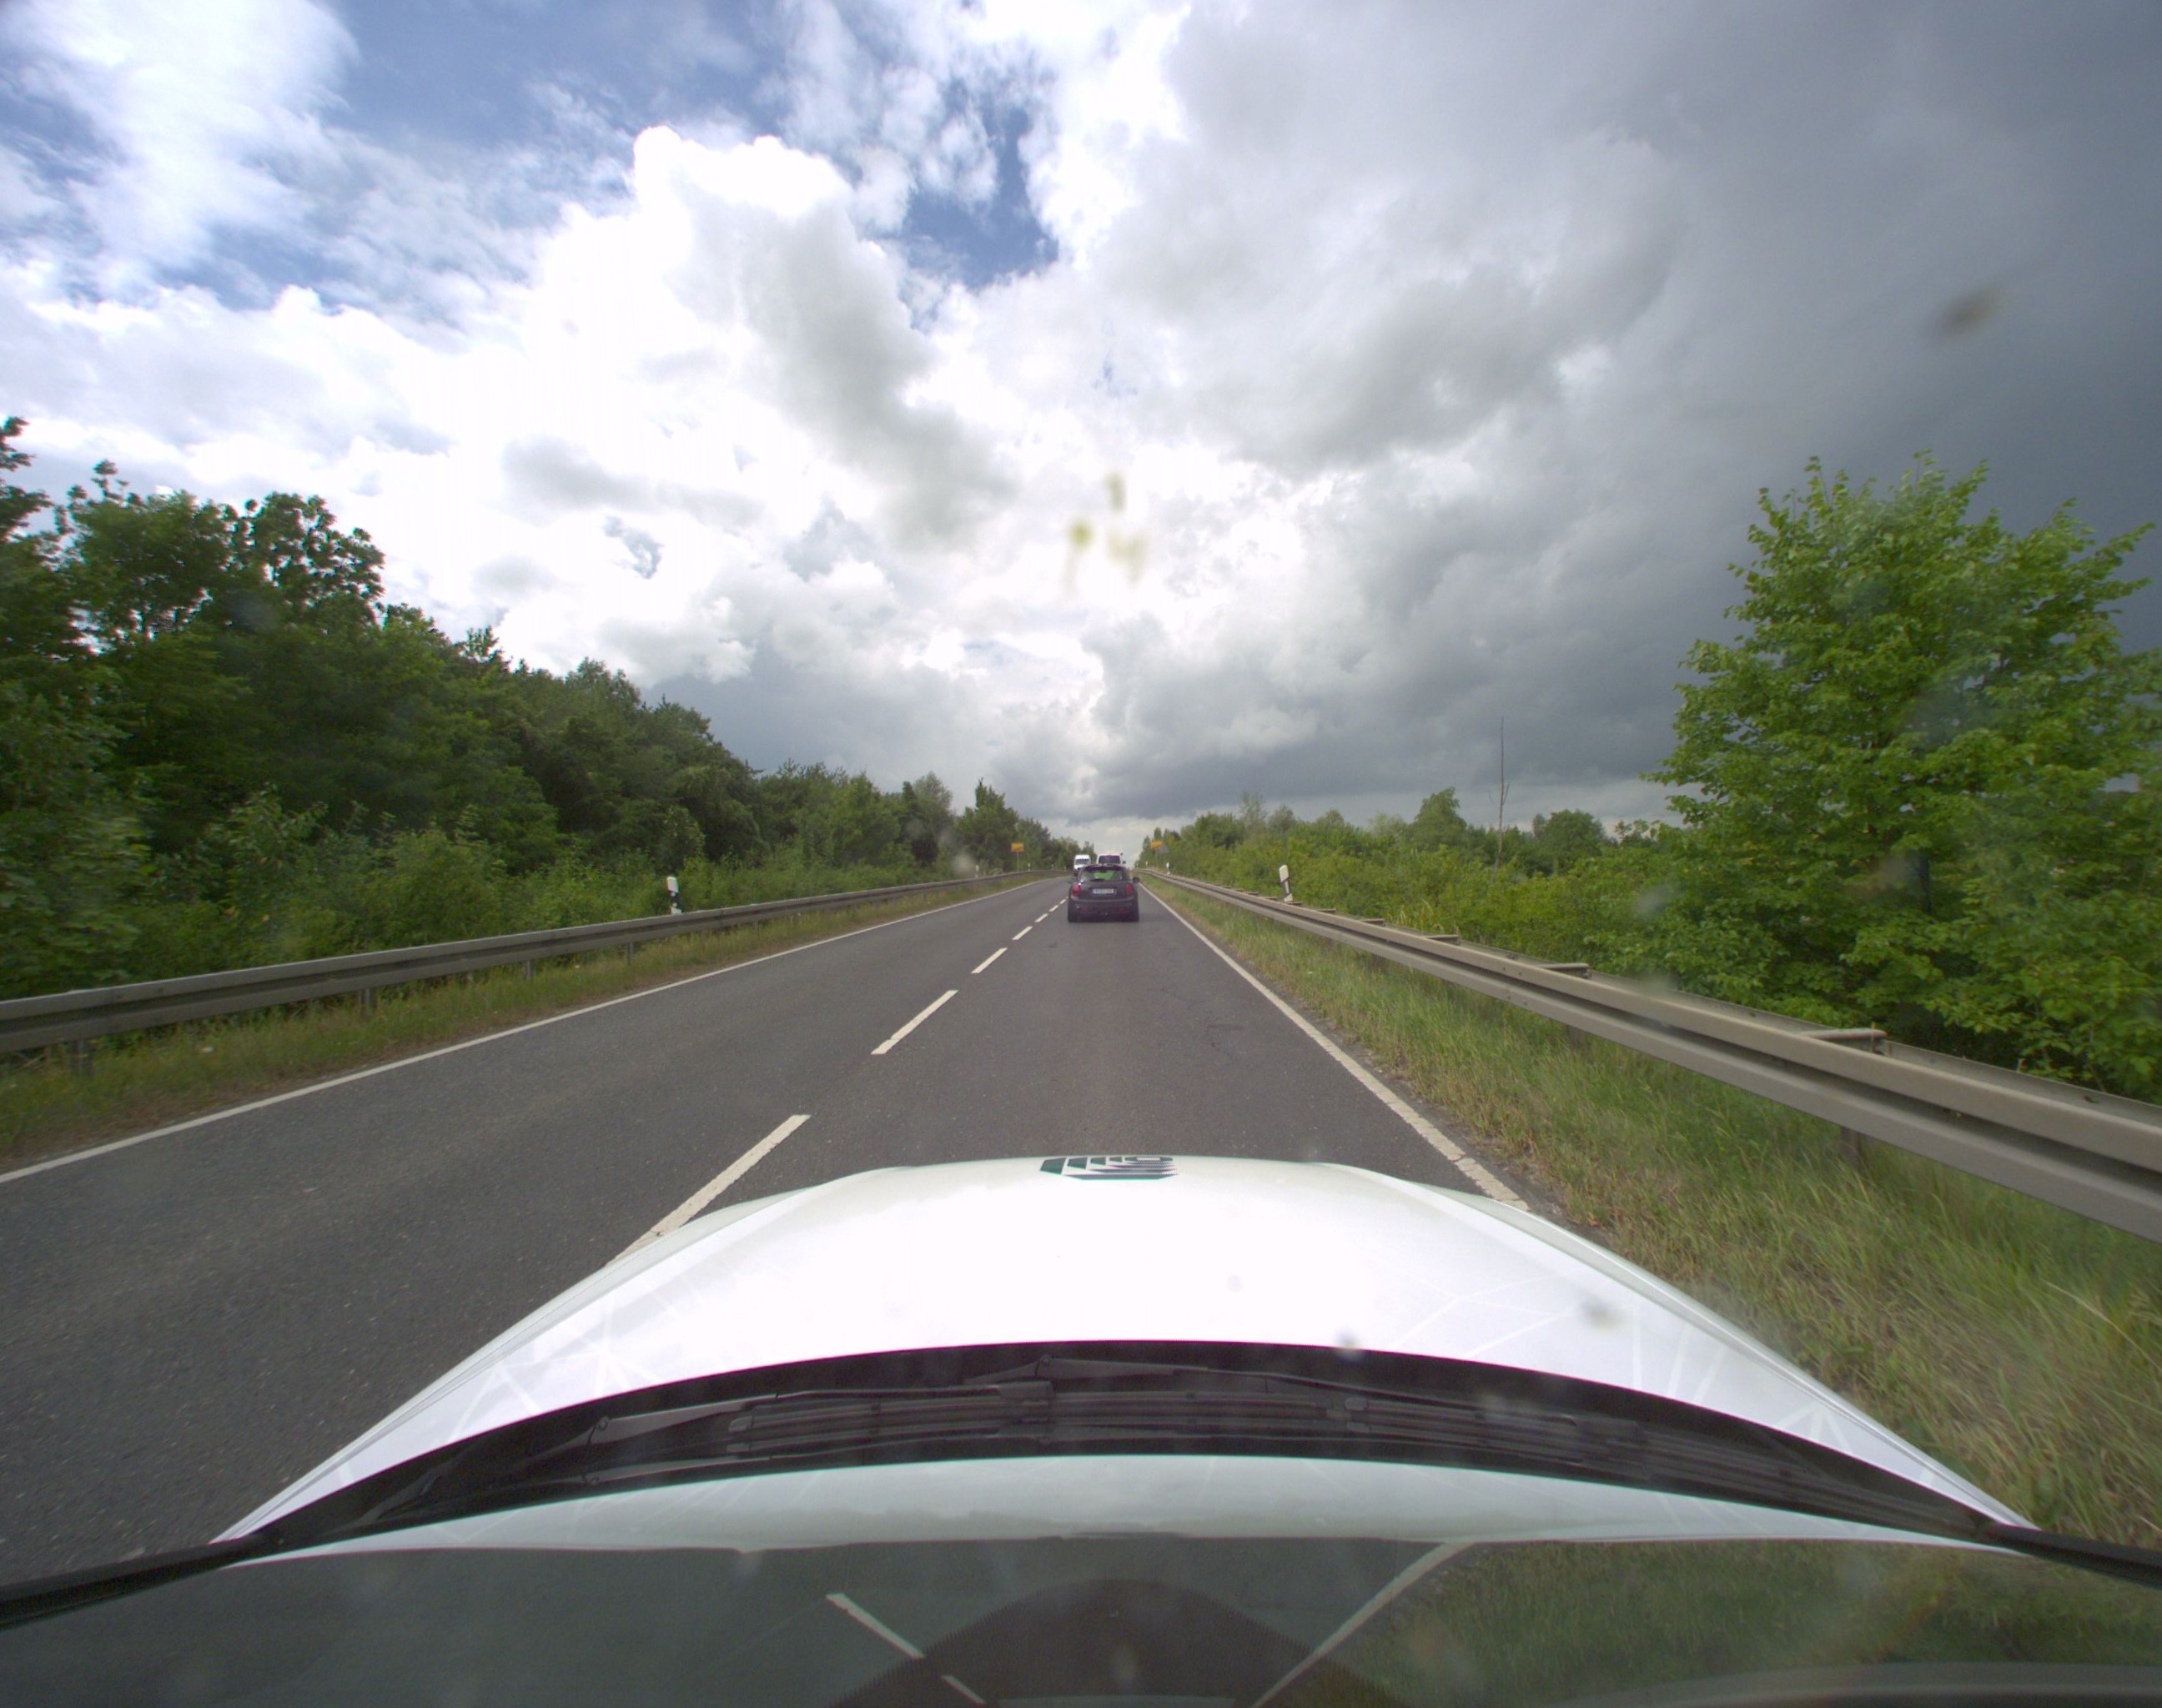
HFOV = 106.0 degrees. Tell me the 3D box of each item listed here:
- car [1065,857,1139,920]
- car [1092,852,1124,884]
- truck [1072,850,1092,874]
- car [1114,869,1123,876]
[{"bbox_3d":[0.533,0.839,21.312,1.726,1.456,4.000,-1,-1,1],"label":"car"},{"bbox_3d":[1.816,0.912,53.746,2.014,2.013,4.003,-1,-1,3],"label":"car"},{"bbox_3d":[0.158,0.941,98.941,2.057,2.742,7.011,-2,0,3],"label":"truck"},{"bbox_3d":[7.746,3.880,168.045,1.687,1.319,4.004,-3,0,4],"label":"car"}]
